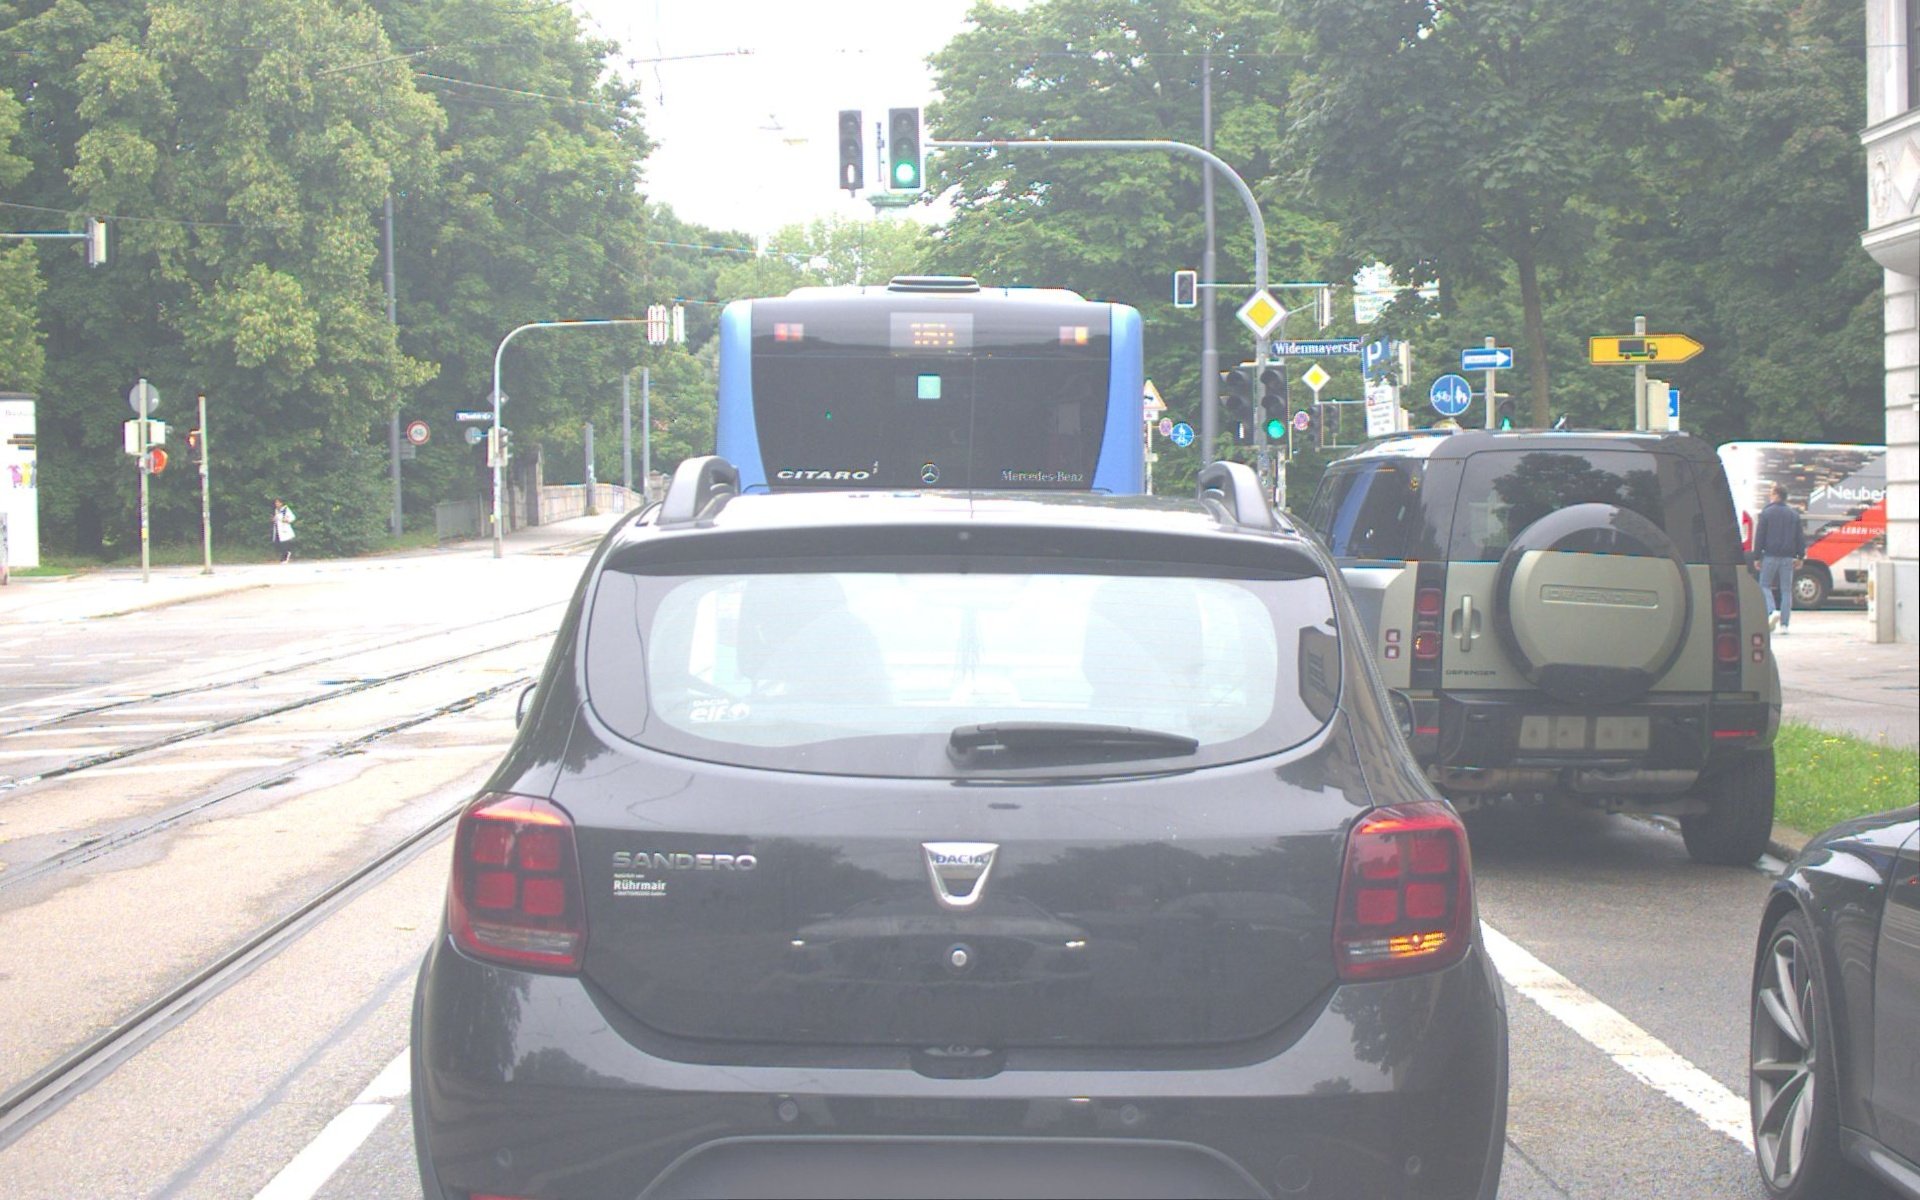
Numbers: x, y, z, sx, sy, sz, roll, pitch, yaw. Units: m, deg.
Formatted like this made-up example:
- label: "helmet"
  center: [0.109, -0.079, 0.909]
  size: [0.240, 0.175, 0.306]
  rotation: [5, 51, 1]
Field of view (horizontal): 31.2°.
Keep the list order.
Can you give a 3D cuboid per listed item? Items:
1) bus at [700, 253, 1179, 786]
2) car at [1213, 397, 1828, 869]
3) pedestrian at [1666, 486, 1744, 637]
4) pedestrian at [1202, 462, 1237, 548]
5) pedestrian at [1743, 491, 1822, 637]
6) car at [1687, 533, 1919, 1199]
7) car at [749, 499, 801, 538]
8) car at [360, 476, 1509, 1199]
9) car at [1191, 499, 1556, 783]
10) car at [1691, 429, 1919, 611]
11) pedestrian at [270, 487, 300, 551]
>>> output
- label: "bus"
  center: [-0.263, -0.521, 23.122]
  size: [2.678, 2.987, 6.962]
  rotation: [1, 1, -2]
- label: "car"
  center: [2.481, 0.093, 16.511]
  size: [1.914, 1.899, 4.809]
  rotation: [1, 1, -3]
- label: "pedestrian"
  center: [9.084, -0.474, 41.935]
  size: [0.705, 1.810, 0.870]
  rotation: [1, 1, -1]
- label: "pedestrian"
  center: [6.389, -2.339, 84.747]
  size: [0.762, 2.109, 0.853]
  rotation: [-1, 2, 0]
- label: "pedestrian"
  center: [9.917, -0.441, 41.473]
  size: [0.705, 1.726, 0.843]
  rotation: [1, 1, -1]
- label: "car"
  center: [2.634, 0.614, 5.825]
  size: [1.716, 1.421, 4.603]
  rotation: [1, 1, -1]
- label: "car"
  center: [-6.744, -2.958, 125.369]
  size: [1.787, 1.365, 3.400]
  rotation: [1, 1, -2]
- label: "car"
  center: [-0.076, 0.585, 6.618]
  size: [1.600, 1.551, 3.525]
  rotation: [1, 1, -1]
- label: "car"
  center: [2.499, 0.194, 21.750]
  size: [1.714, 1.586, 4.327]
  rotation: [1, 1, -1]
- label: "car"
  center: [13.877, -1.169, 51.430]
  size: [5.295, 2.603, 2.231]
  rotation: [1, 1, -3]
- label: "pedestrian"
  center: [-16.005, -1.916, 81.549]
  size: [0.532, 1.496, 0.588]
  rotation: [1, 1, 4]
